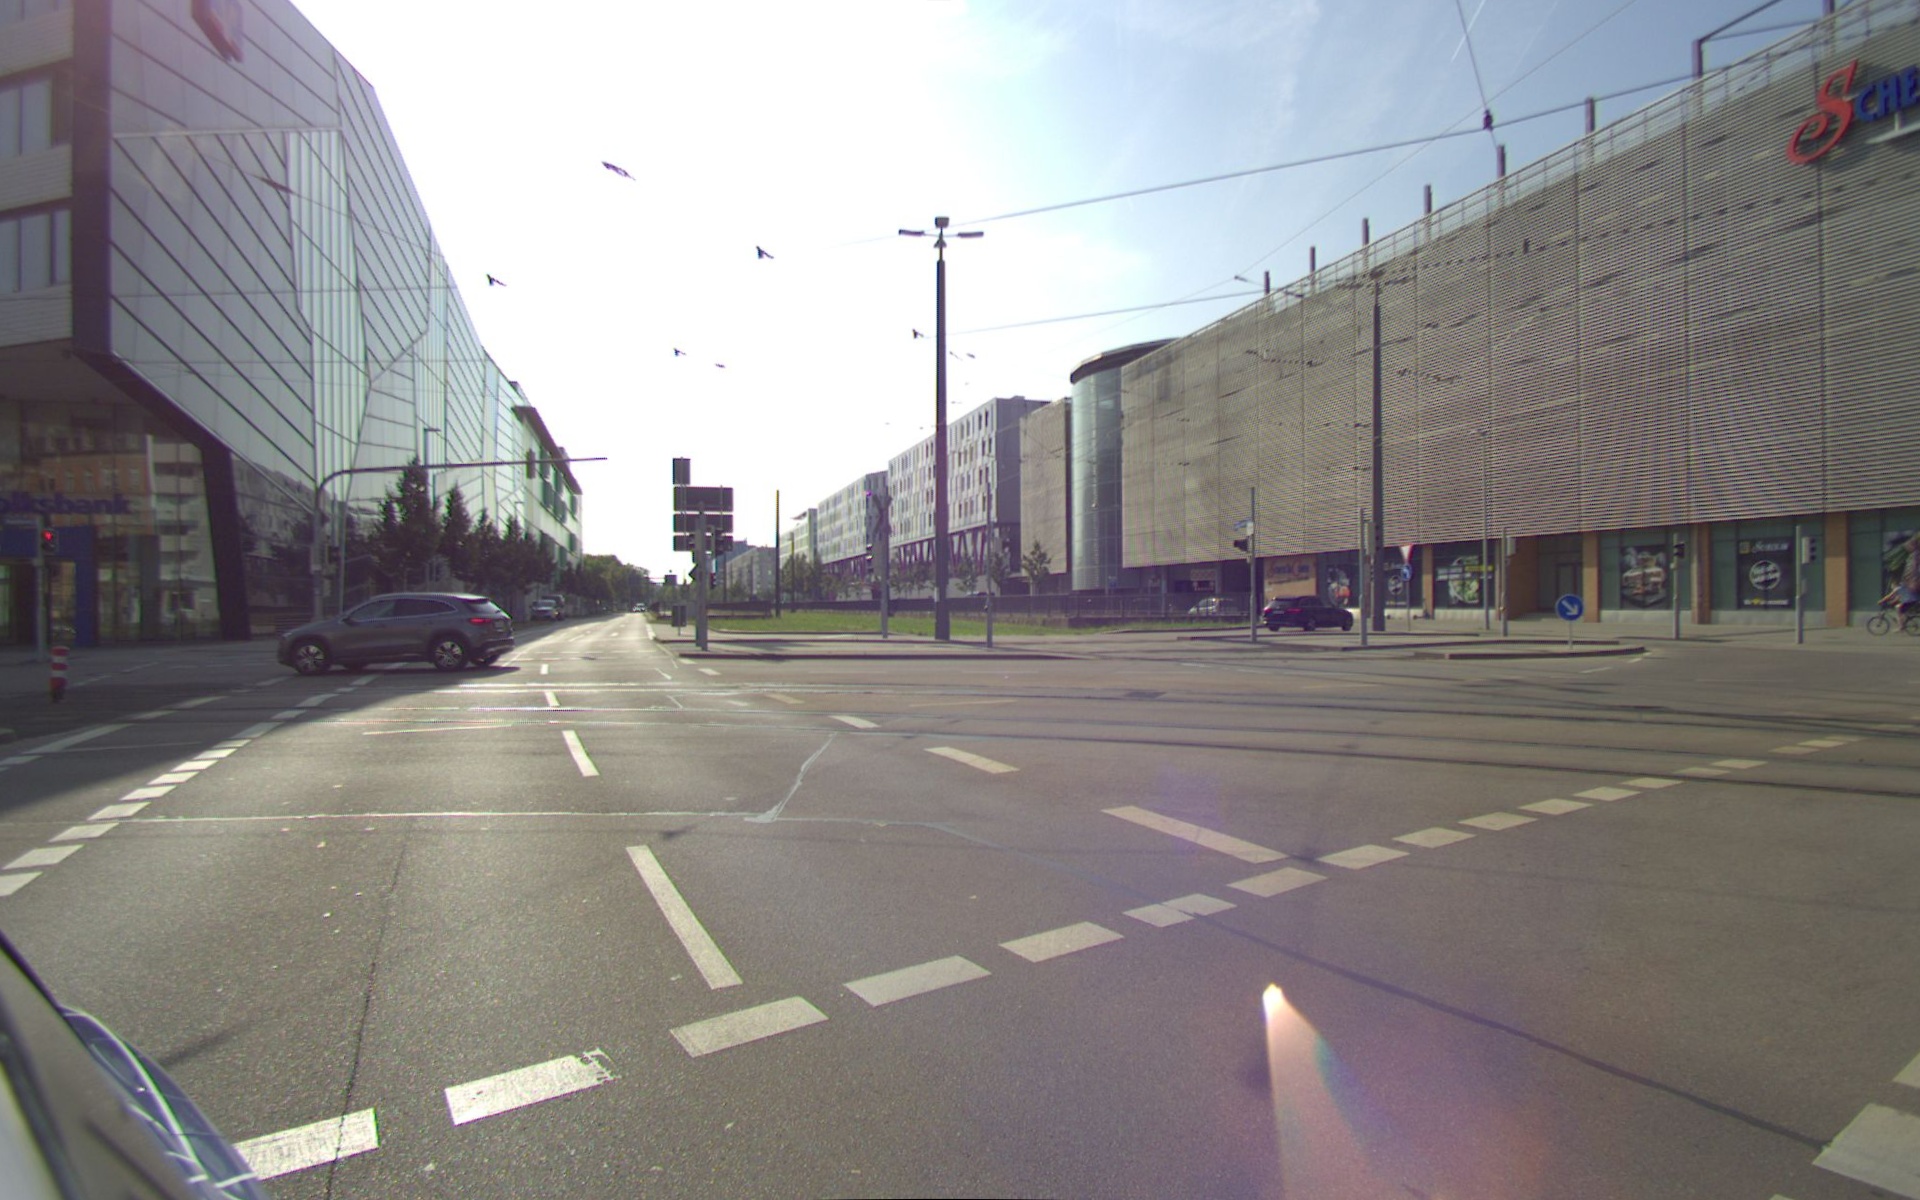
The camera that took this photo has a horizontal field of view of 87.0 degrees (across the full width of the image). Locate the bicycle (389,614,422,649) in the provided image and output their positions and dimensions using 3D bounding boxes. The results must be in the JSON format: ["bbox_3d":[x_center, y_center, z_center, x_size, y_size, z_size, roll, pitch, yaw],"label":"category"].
[{"bbox_3d":[-17.967,1.005,32.819,0.412,1.064,1.965,0,1,-12],"label":"bicycle"}]

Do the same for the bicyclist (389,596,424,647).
[{"bbox_3d":[-17.937,0.690,32.809,0.770,1.598,0.934,0,1,-12],"label":"bicyclist"}]

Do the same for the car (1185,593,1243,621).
[{"bbox_3d":[14.777,0.366,59.069,1.713,1.571,3.413,0,1,-19],"label":"car"}]

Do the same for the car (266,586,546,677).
[{"bbox_3d":[-11.347,0.613,21.003,4.744,1.796,1.957,0,1,-3],"label":"car"}]

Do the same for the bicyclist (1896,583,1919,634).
[{"bbox_3d":[30.970,0.276,32.819,0.559,1.642,0.717,0,1,-20],"label":"bicyclist"}]

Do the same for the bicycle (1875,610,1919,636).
[{"bbox_3d":[30.978,0.743,32.827,0.572,0.785,1.875,0,1,-18],"label":"bicycle"}]

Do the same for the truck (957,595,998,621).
[{"bbox_3d":[1.570,0.759,94.989,2.169,2.339,4.566,-1,0,-23],"label":"truck"}]
